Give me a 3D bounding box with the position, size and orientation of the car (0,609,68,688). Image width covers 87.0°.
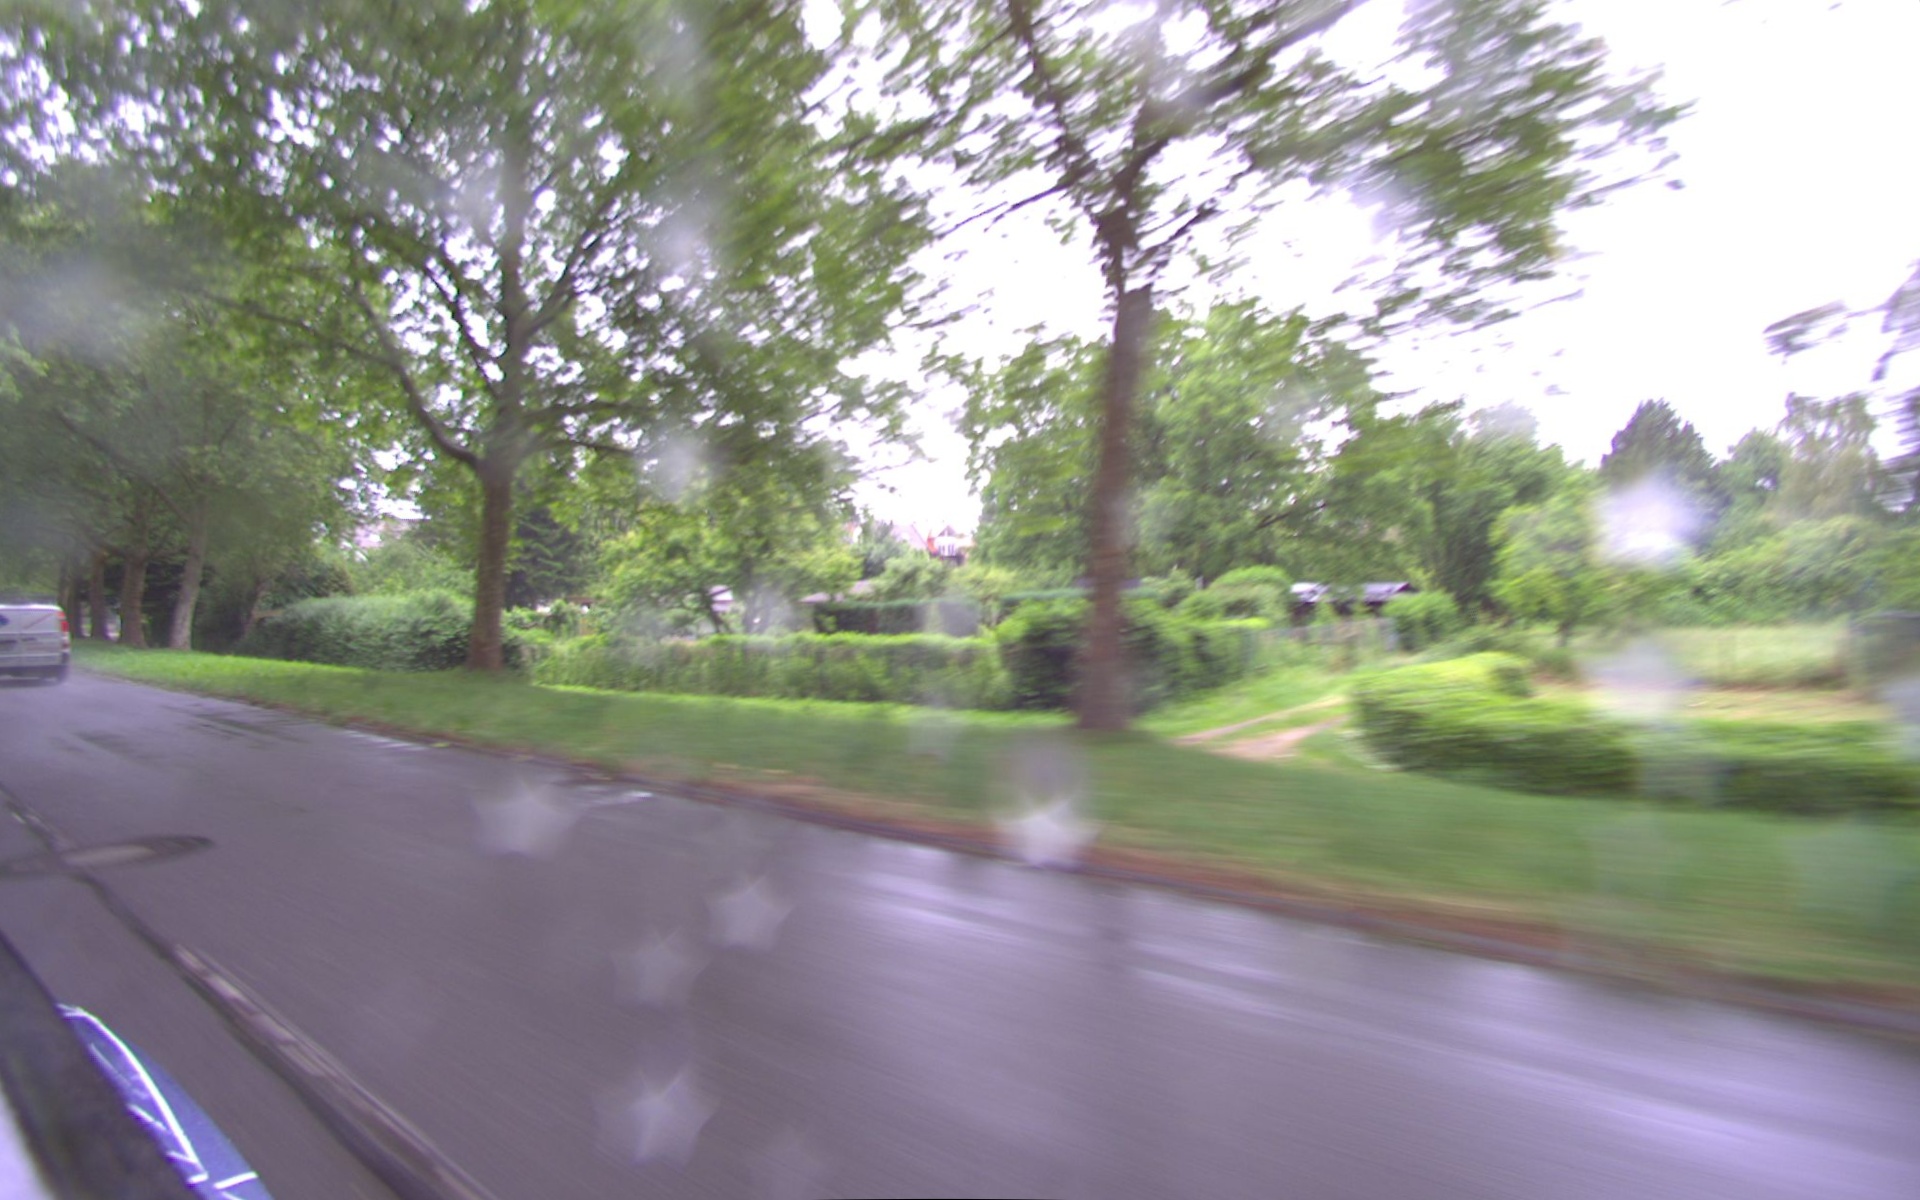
[{"bbox_3d":[-23.329,1.144,24.578,5.013,1.763,1.843,-2,-2,41],"label":"car"}]
